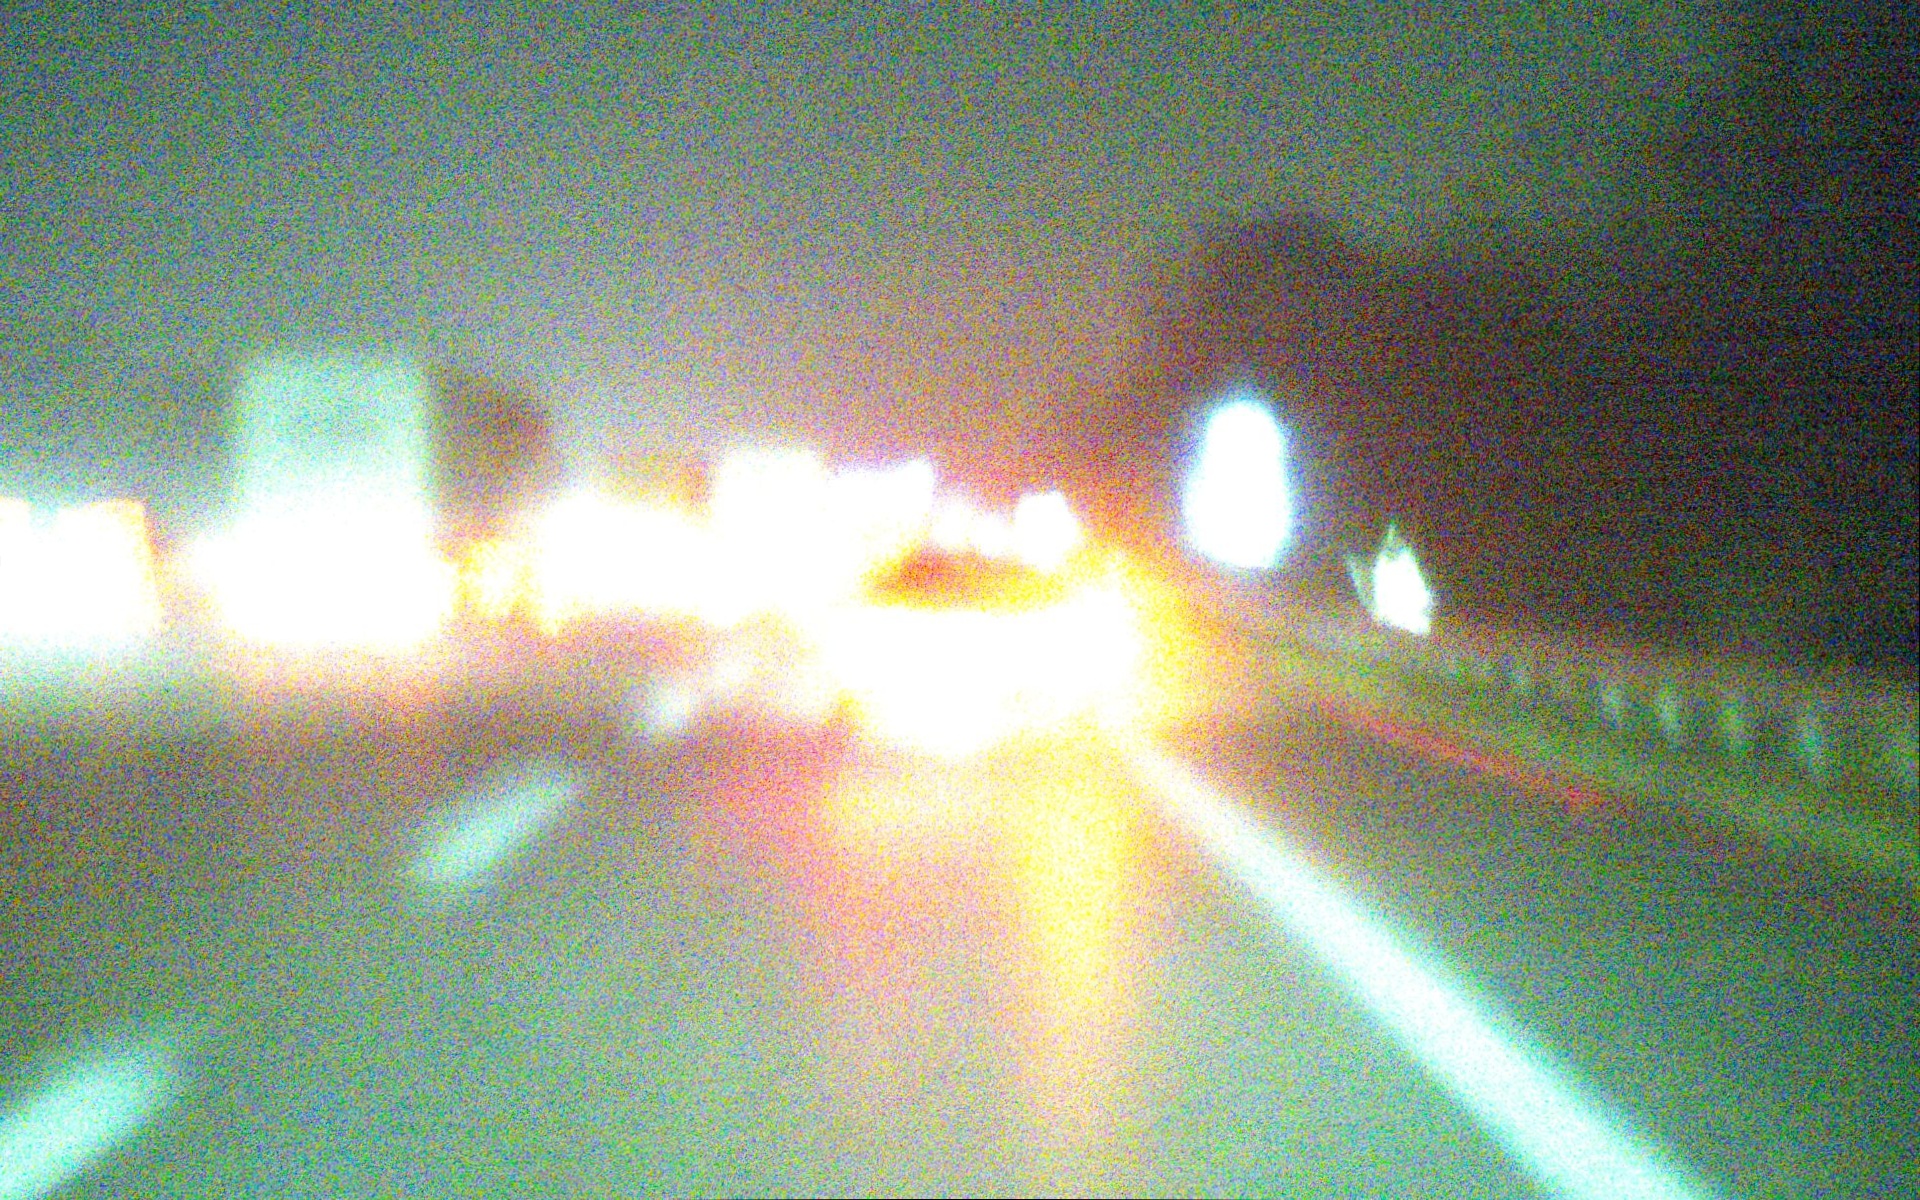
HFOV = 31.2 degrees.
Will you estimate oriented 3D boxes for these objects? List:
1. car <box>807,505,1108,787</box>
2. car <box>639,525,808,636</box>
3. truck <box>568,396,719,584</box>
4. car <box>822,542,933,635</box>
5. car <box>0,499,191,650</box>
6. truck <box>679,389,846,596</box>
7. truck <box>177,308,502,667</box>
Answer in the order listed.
[{"bbox_3d":[0.000,0.259,23.786,1.878,1.756,4.000,1,1,0],"label":"car"},{"bbox_3d":[-4.501,-0.398,66.379,2.833,2.007,5.510,1,1,0],"label":"car"},{"bbox_3d":[-9.633,-3.305,105.834,4.253,5.425,10.886,1,1,-4],"label":"truck"},{"bbox_3d":[-1.553,-0.251,65.977,1.993,1.698,4.458,1,1,0],"label":"car"},{"bbox_3d":[-12.883,-0.420,50.727,2.123,2.097,5.630,0,1,-3],"label":"car"},{"bbox_3d":[-5.279,-2.815,92.603,4.161,5.197,9.955,1,1,-3],"label":"truck"},{"bbox_3d":[-8.934,-1.574,50.789,3.655,4.721,9.854,1,1,-4],"label":"truck"}]
